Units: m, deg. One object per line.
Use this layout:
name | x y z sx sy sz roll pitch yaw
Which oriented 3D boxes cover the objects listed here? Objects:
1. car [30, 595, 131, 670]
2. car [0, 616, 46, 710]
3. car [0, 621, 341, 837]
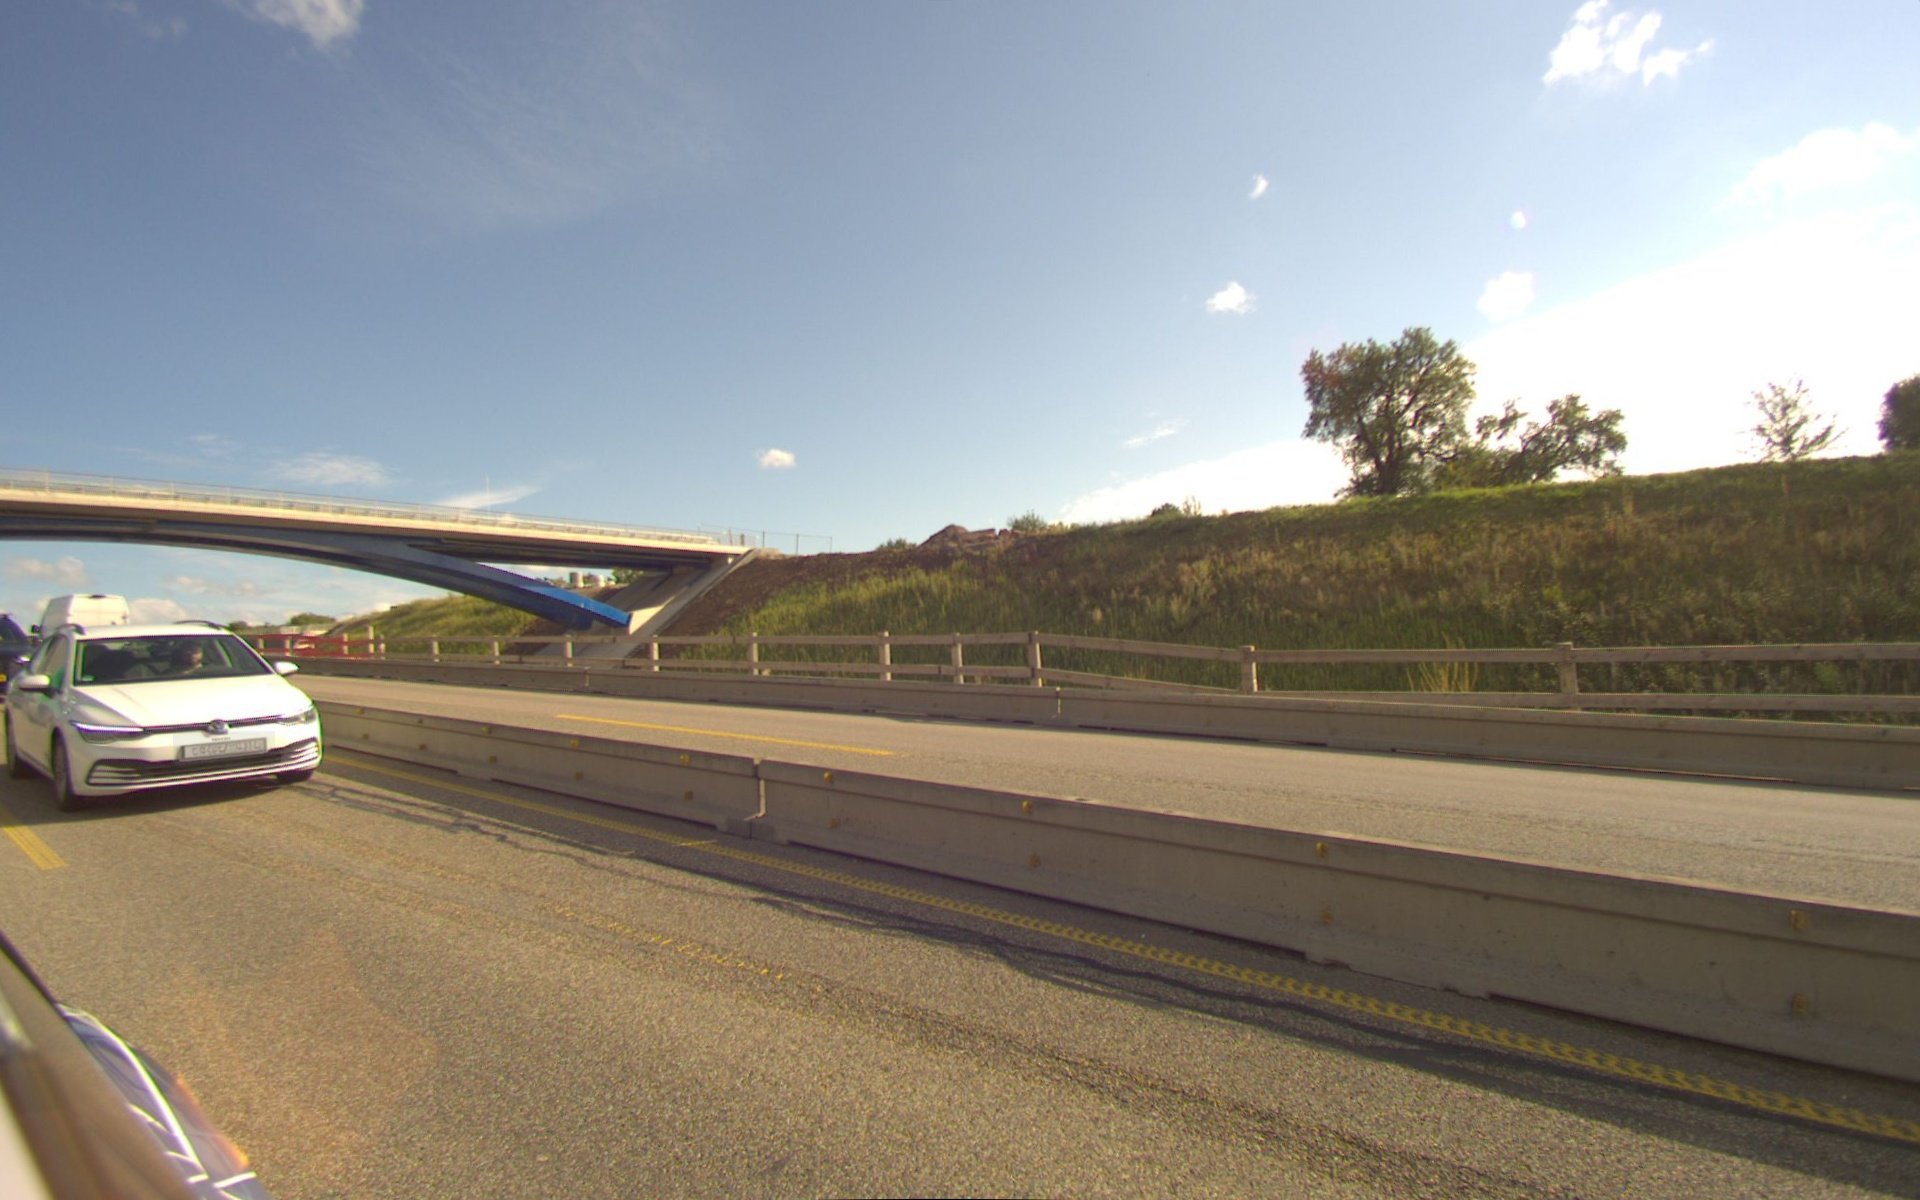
car | -36.234 1.354 41.627 6.133 2.857 2.088 -1 -4 40
car | -19.233 1.203 19.557 4.258 1.689 1.831 -2 0 41
car | -7.505 0.982 9.374 4.372 1.507 1.802 -2 -1 41
